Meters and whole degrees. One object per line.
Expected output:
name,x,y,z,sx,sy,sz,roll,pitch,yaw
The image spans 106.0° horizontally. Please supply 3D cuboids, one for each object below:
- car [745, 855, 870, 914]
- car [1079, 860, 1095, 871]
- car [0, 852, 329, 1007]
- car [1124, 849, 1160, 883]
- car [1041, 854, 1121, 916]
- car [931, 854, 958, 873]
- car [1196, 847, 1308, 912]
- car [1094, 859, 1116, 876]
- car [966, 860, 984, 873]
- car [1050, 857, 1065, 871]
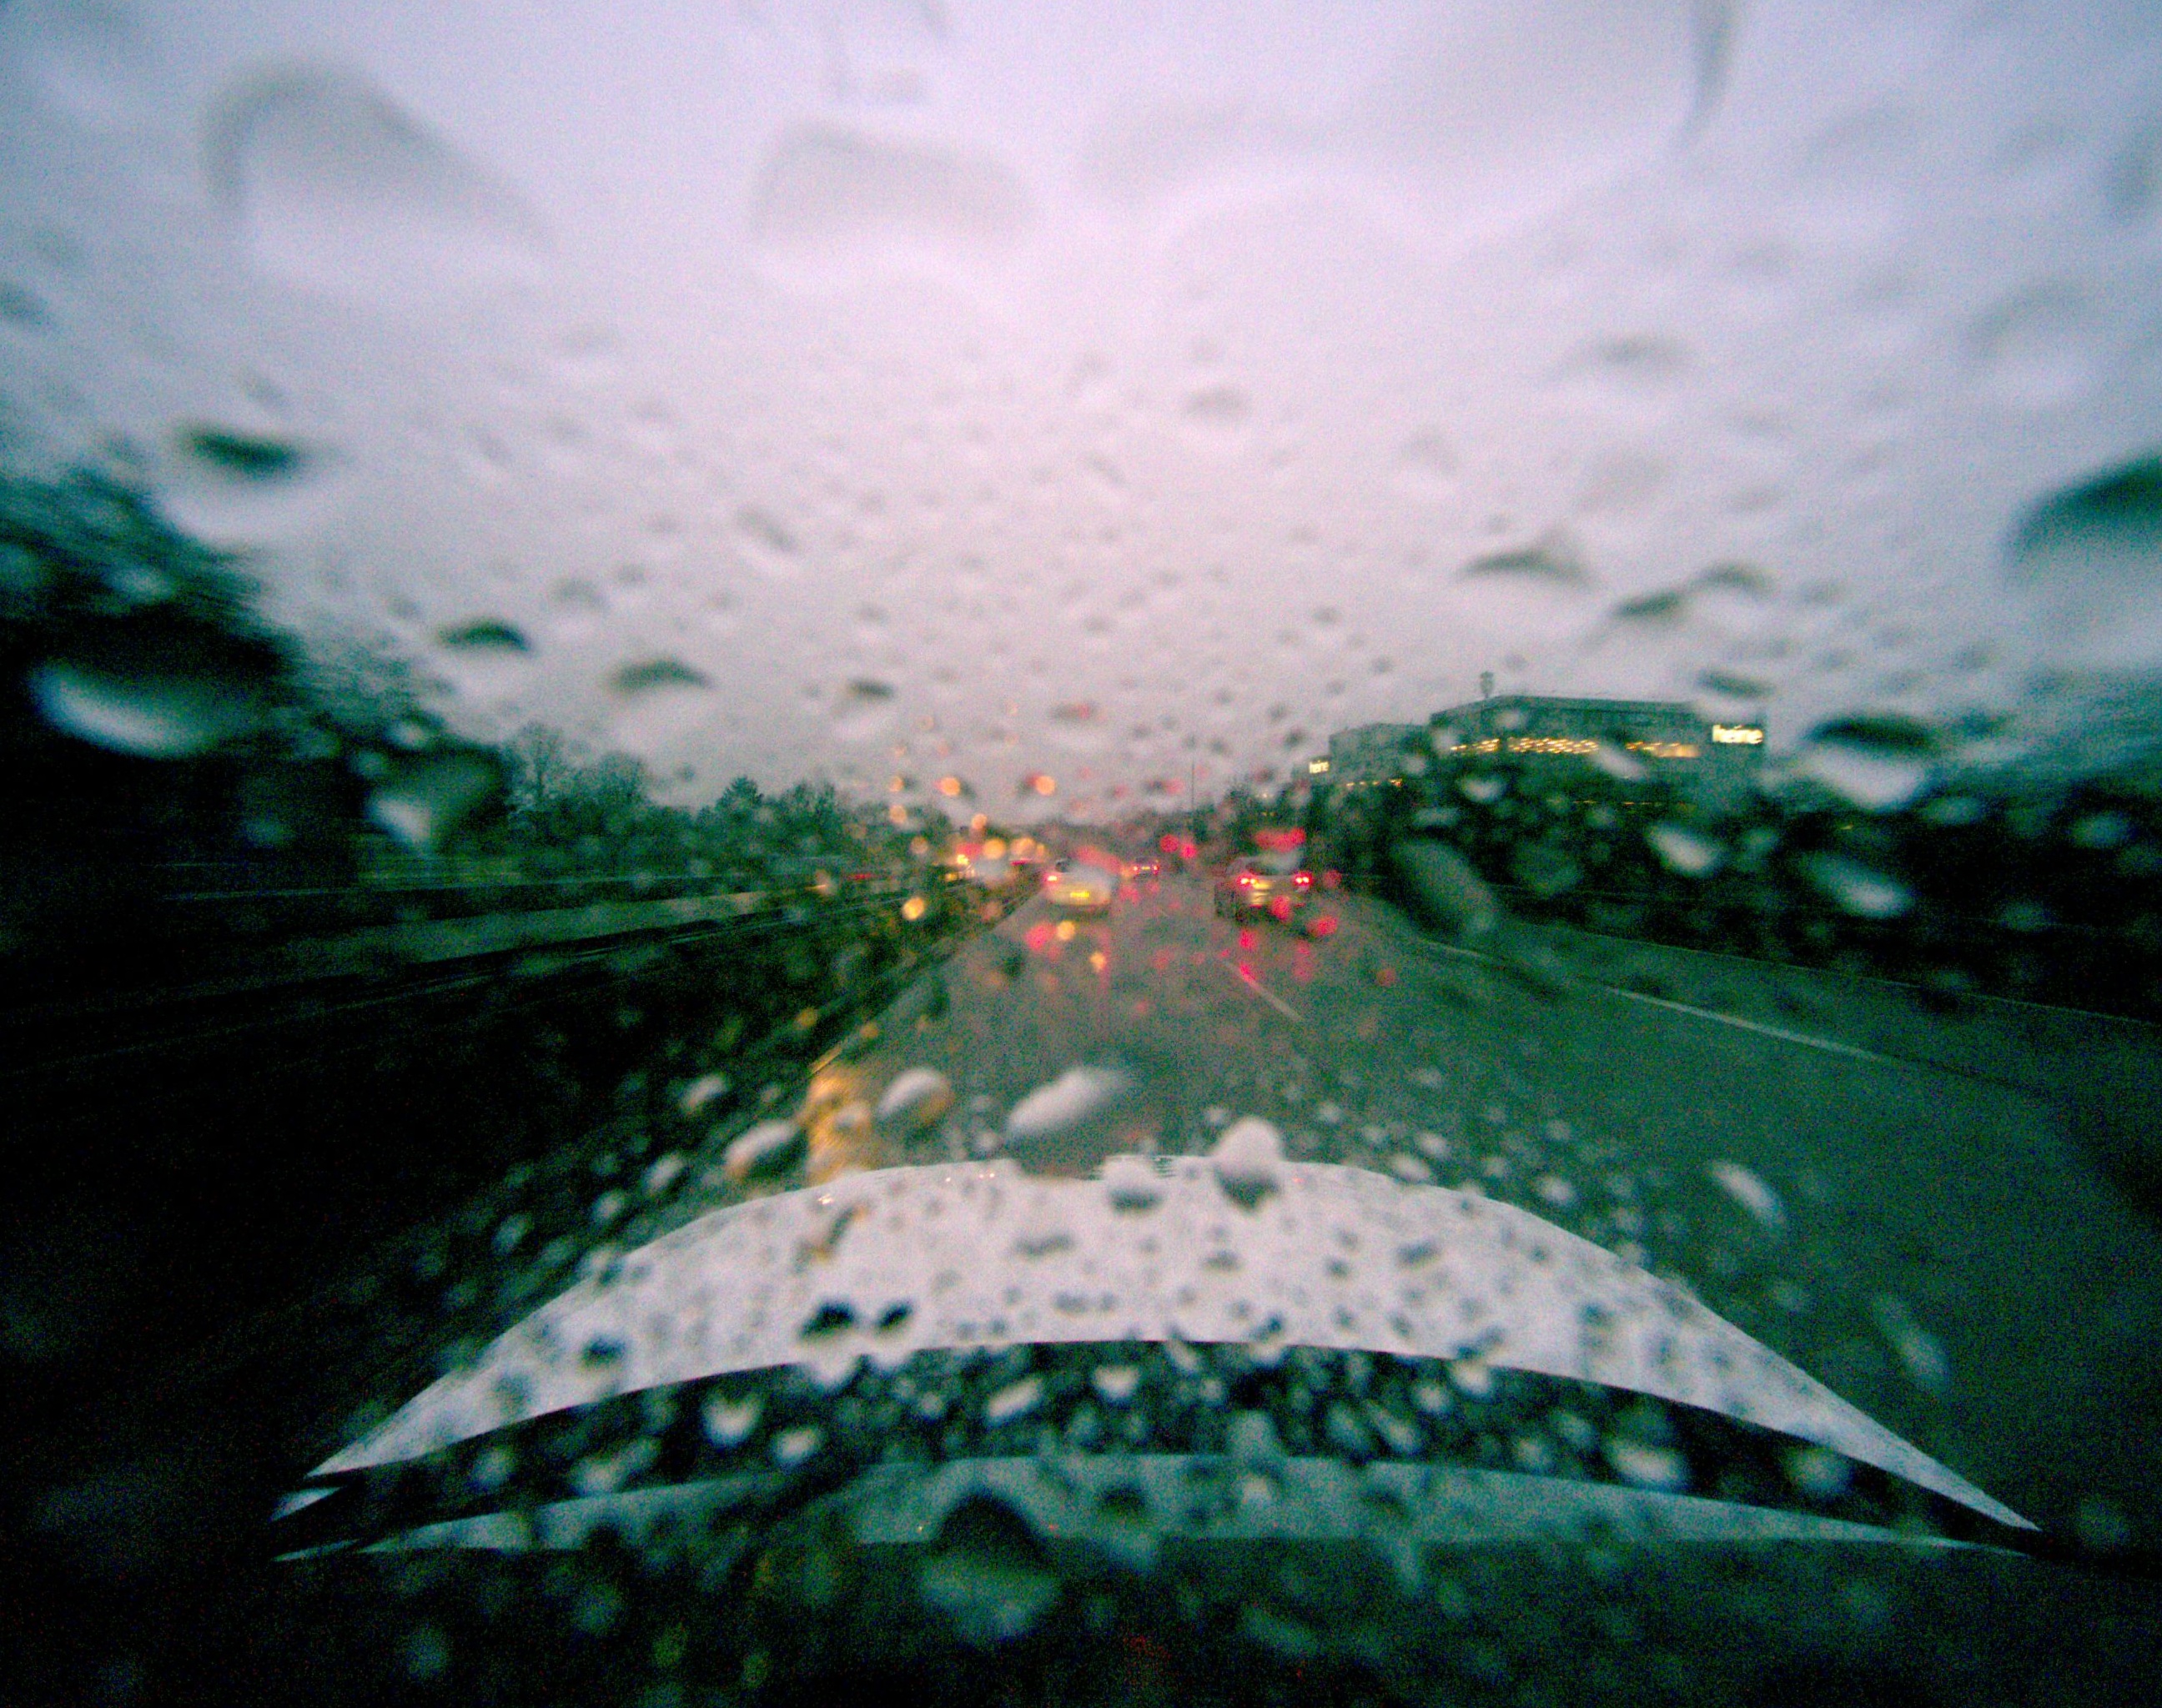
car,-7.524,0.784,22.931,1.858,1.482,4.672,0,0,1
car,0.839,1.596,111.902,1.928,1.546,3.769,0,-1,-3
car,-11.465,0.750,9.136,1.986,1.514,4.285,0,-1,2
car,3.761,0.725,50.606,1.927,2.019,3.772,0,-1,-1
car,-0.104,0.815,23.099,2.021,1.575,3.994,0,-1,-4
car,-12.009,0.830,71.859,1.721,1.607,4.177,0,-1,0
car,4.278,0.614,21.063,1.845,1.502,4.258,0,-1,-2
car,2.540,1.485,88.066,1.929,1.546,3.768,-6,0,-4
car,-13.853,1.602,107.008,1.861,1.627,4.776,0,0,-1
car,-3.363,1.459,118.479,1.987,2.014,3.999,0,-1,0
